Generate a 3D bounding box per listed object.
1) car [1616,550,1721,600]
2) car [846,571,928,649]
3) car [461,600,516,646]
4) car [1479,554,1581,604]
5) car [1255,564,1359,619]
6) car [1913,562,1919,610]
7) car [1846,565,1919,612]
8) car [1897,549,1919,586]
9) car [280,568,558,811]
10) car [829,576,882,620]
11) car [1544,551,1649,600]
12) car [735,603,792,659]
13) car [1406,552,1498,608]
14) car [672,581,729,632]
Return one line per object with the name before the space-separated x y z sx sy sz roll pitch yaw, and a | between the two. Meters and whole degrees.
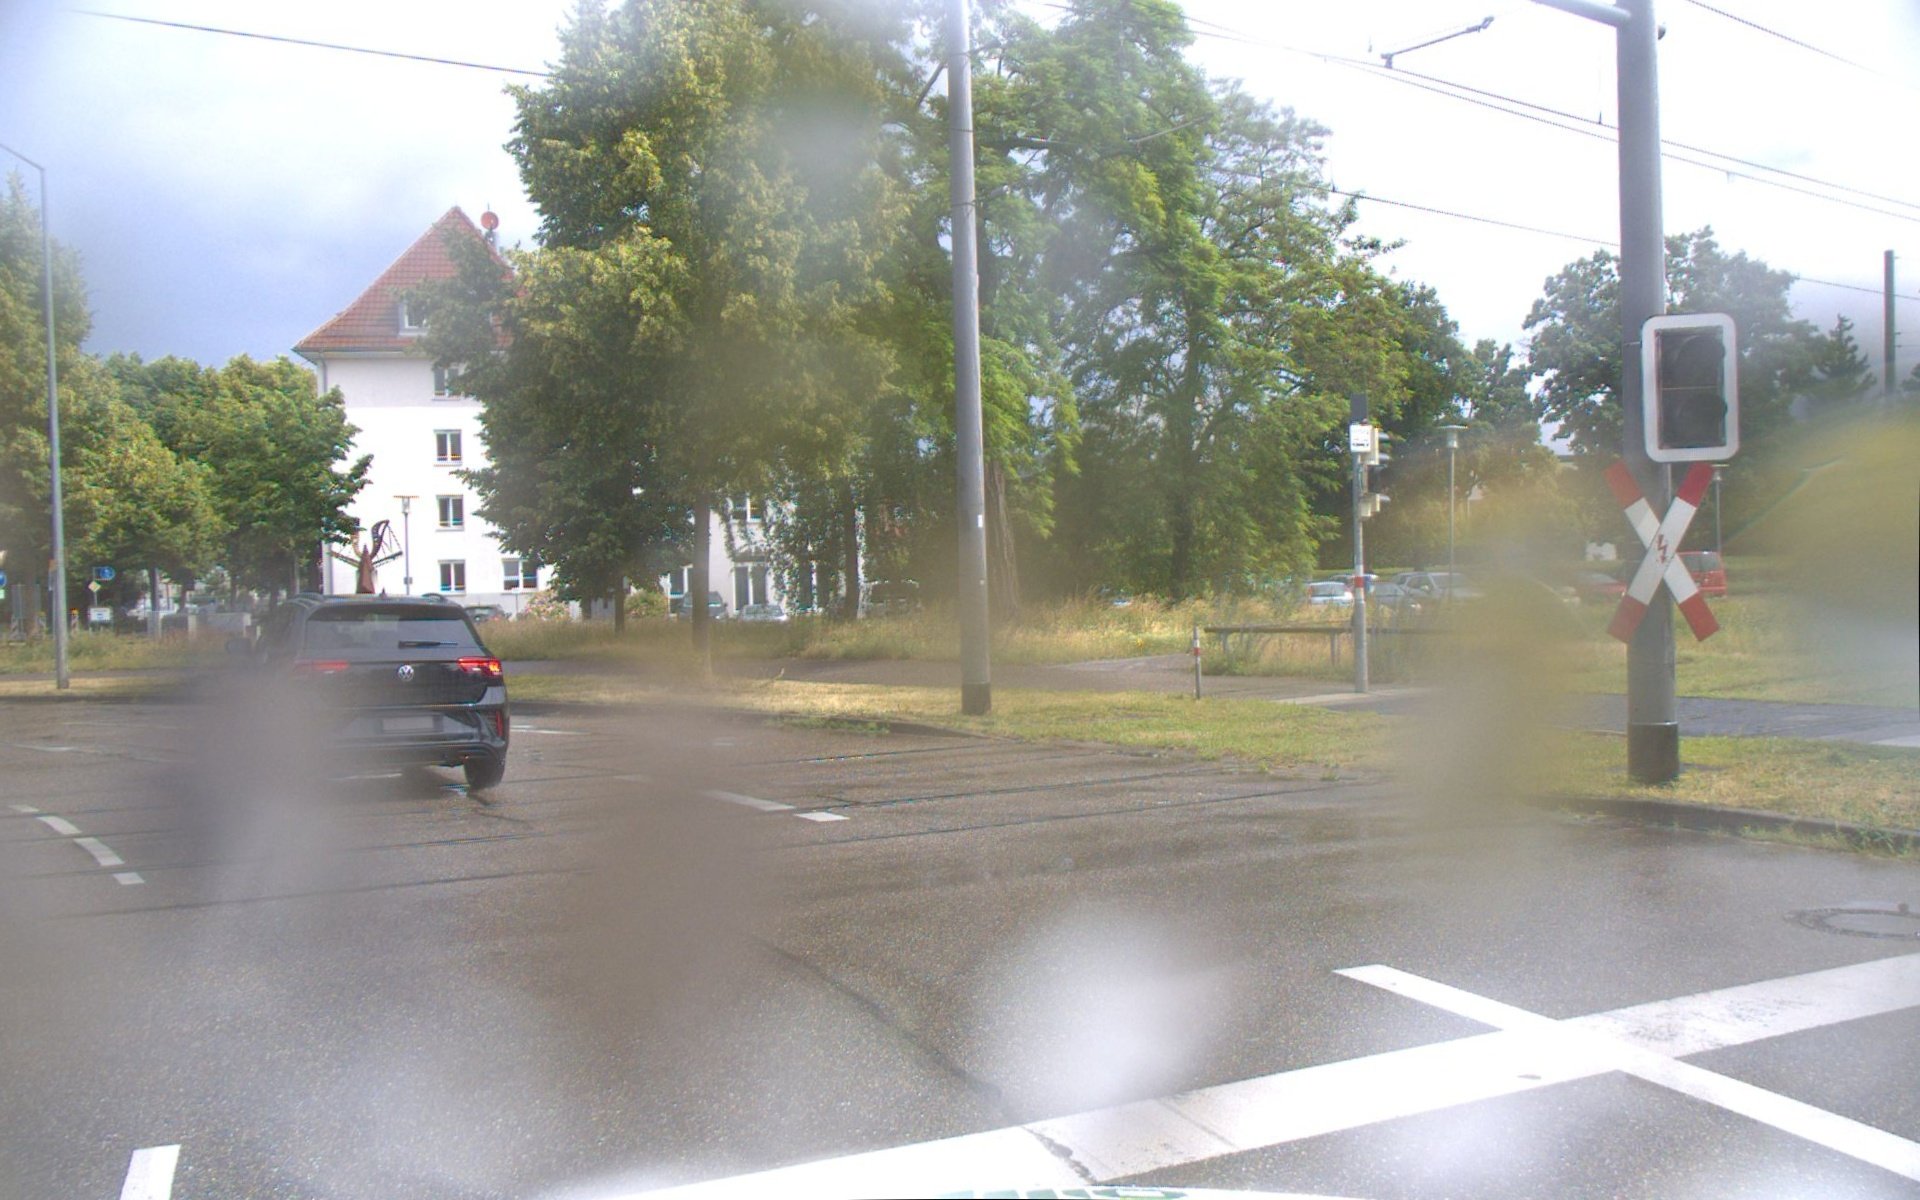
car | 22.983 -0.798 53.801 1.612 1.536 3.647 -2 1 -5
car | -2.268 0.238 49.913 2.066 2.093 5.155 -3 1 -6
car | -16.833 0.802 59.152 1.641 1.508 3.727 -1 1 -13
car | 18.136 -0.654 52.765 1.609 1.487 3.605 -2 1 -7
car | 10.701 -0.262 51.295 1.811 1.587 3.969 -2 0 -10
car | 34.464 -0.525 56.297 1.517 1.689 3.620 -2 0 -10
car | 32.174 -0.398 55.955 1.760 1.554 3.990 -2 0 -10
car | 42.025 -1.428 70.192 1.760 1.554 3.990 -2 0 -10
car | -4.674 0.636 14.021 1.871 1.645 3.974 -3 1 -22
car | -3.857 -0.090 60.802 1.627 1.368 3.575 -2 3 -9
car | 20.529 -0.768 53.468 1.609 1.487 3.605 -2 1 -7
car | -5.823 0.879 49.087 1.573 1.536 3.615 -2 0 -7
car | 15.740 -0.630 53.053 1.515 1.688 3.645 -2 0 -6
car | -9.427 0.201 59.902 1.813 1.579 4.096 -2 3 -11
